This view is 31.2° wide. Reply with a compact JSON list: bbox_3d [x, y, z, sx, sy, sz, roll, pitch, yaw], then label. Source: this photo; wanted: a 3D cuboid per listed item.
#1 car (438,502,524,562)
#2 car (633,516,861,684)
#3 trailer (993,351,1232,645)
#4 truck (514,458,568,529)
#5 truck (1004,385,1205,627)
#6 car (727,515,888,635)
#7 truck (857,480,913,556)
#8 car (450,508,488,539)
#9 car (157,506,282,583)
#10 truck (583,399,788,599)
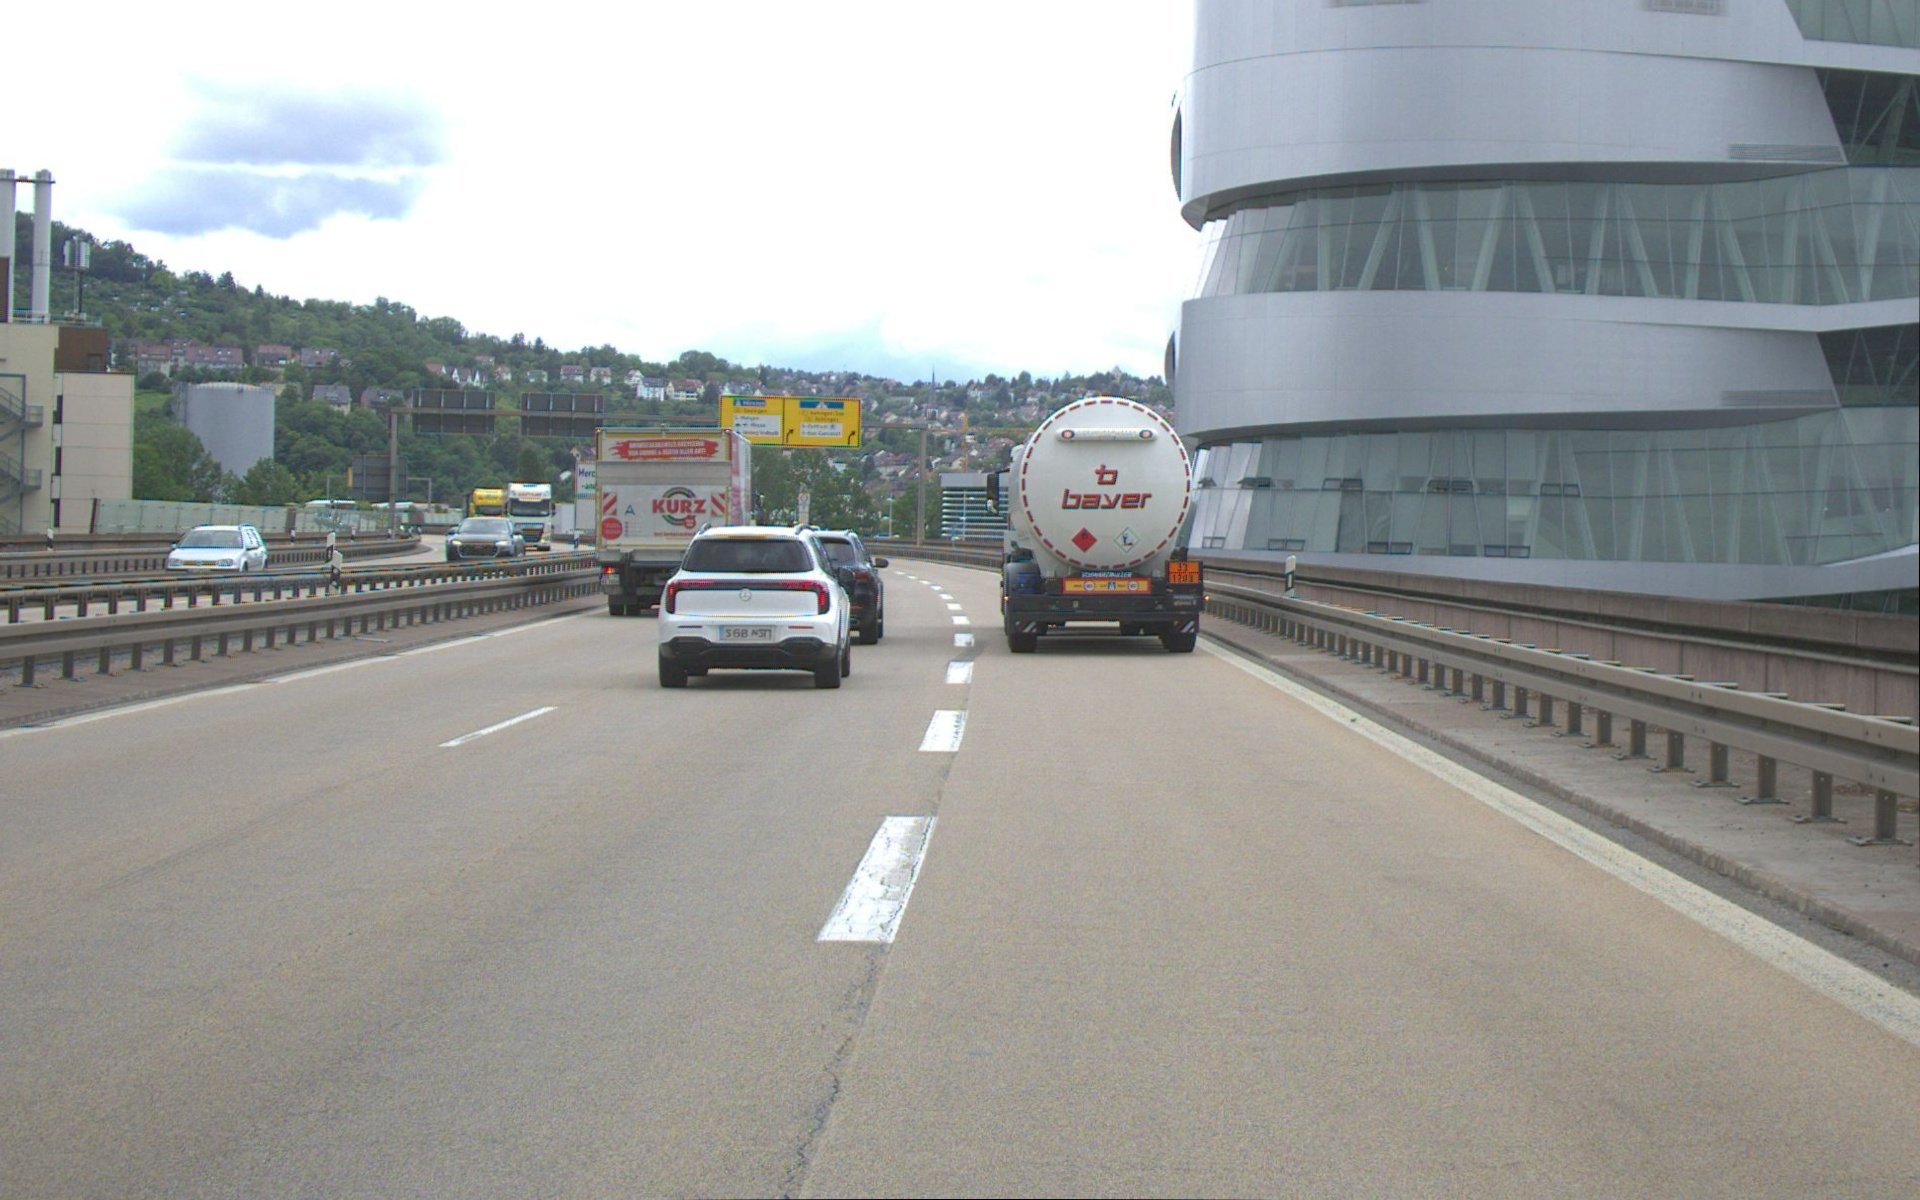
[{"bbox_3d":[-14.023,-1.969,100.871,1.762,1.644,4.335,3,1,1],"label":"car"},{"bbox_3d":[-2.199,-0.024,36.599,1.993,1.669,4.408,0,1,2],"label":"car"},{"bbox_3d":[2.111,-1.373,48.561,3.057,3.777,8.303,0,1,2],"label":"trailer"},{"bbox_3d":[-24.898,-6.305,204.452,2.771,4.065,5.647,0,1,-3],"label":"truck"},{"bbox_3d":[2.267,-1.461,55.213,3.014,3.644,6.273,0,1,1],"label":"truck"},{"bbox_3d":[-2.183,-0.369,50.236,1.993,1.669,4.408,0,1,2],"label":"car"},{"bbox_3d":[-4.589,-4.942,209.793,3.056,4.546,8.305,0,1,-3],"label":"truck"},{"bbox_3d":[-27.750,-4.311,194.435,1.683,1.644,4.360,2,1,-3],"label":"car"},{"bbox_3d":[-16.572,-1.235,77.085,1.683,1.644,4.448,2,1,2],"label":"car"},{"bbox_3d":[-5.286,-1.916,67.708,3.057,3.678,8.303,0,1,2],"label":"truck"}]
